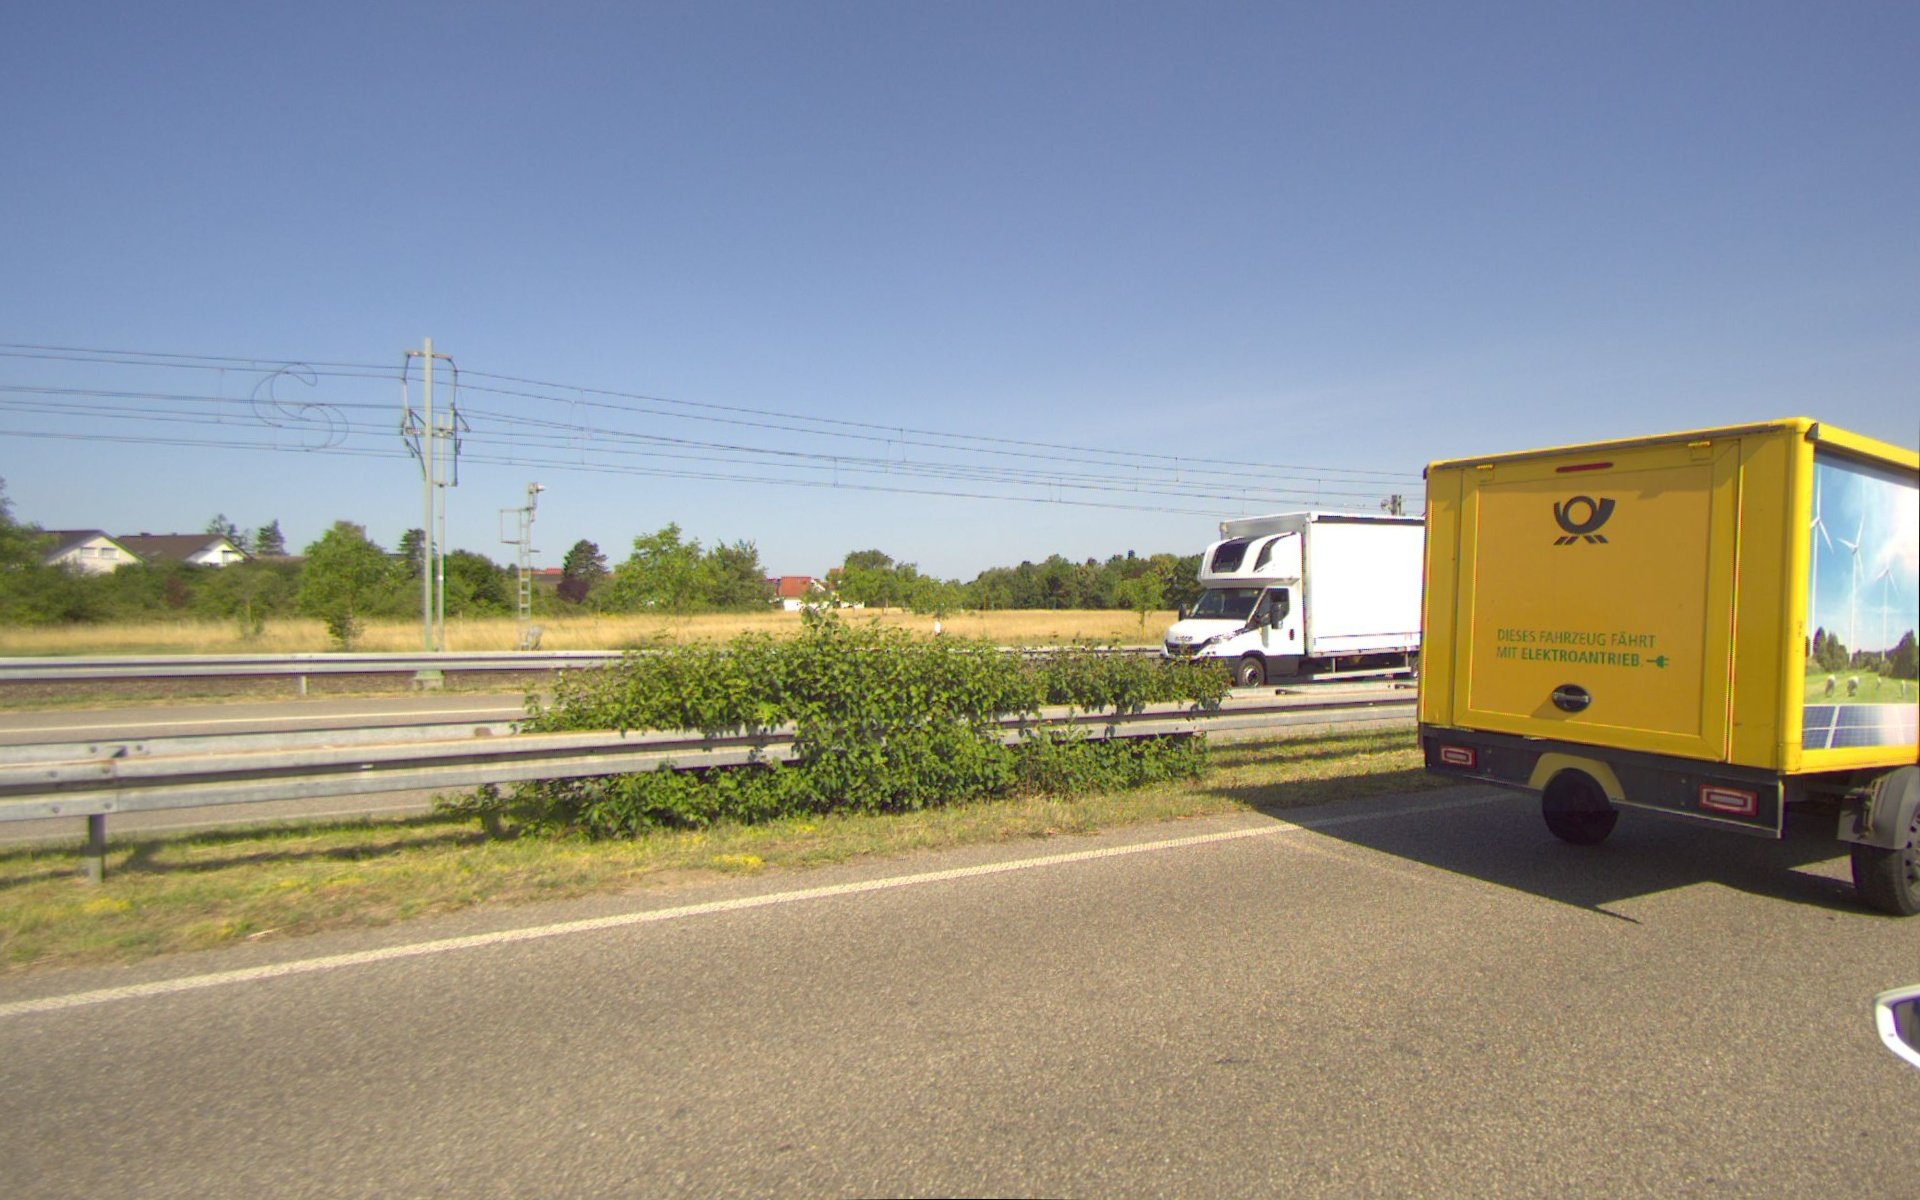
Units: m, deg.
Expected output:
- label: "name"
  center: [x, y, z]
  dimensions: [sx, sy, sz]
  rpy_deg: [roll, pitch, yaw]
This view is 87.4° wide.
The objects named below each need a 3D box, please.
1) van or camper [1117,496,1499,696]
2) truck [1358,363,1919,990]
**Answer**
- label: "van or camper"
  center: [7.766, -0.045, 22.042]
  dimensions: [8.533, 3.729, 2.865]
  rpy_deg: [0, 0, -28]
- label: "truck"
  center: [5.340, 0.327, 6.417]
  dimensions: [5.849, 2.490, 2.101]
  rpy_deg: [1, 0, -31]
